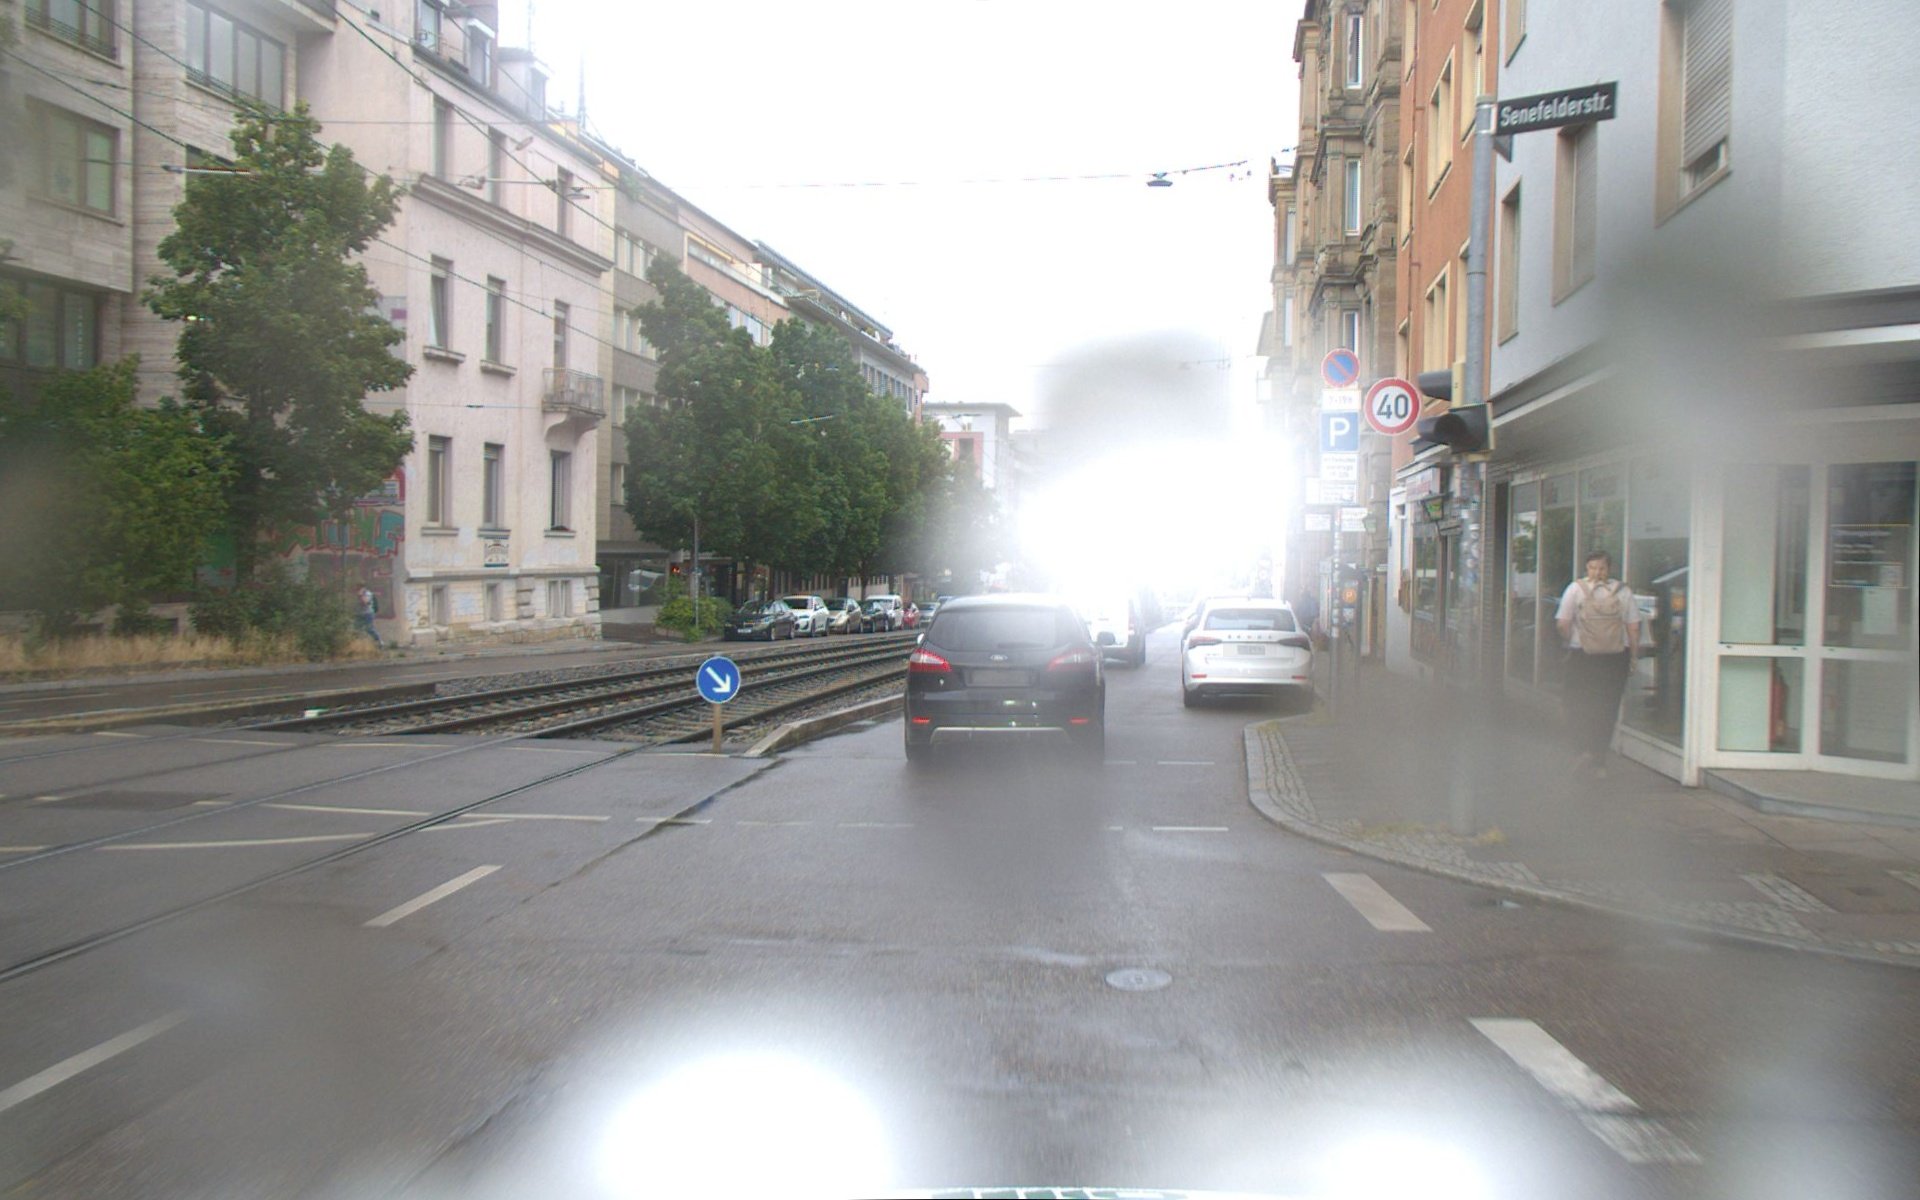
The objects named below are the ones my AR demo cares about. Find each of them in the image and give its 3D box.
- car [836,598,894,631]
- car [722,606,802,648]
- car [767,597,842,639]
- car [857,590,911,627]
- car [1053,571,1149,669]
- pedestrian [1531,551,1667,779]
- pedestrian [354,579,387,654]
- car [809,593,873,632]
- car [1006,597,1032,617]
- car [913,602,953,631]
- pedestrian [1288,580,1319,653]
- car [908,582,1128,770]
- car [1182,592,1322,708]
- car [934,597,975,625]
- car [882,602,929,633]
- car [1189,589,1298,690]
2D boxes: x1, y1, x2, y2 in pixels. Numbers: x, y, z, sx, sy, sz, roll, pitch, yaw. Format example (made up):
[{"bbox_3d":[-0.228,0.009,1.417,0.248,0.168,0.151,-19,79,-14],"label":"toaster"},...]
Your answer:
[{"bbox_3d":[-4.427,0.689,78.063,1.816,1.443,4.434,-1,-2,9],"label":"car"},{"bbox_3d":[-7.199,1.013,60.629,1.657,1.402,4.724,2,-2,9],"label":"car"},{"bbox_3d":[-6.213,0.760,66.664,1.816,1.576,4.724,2,-1,9],"label":"car"},{"bbox_3d":[-3.823,0.449,84.100,1.816,1.731,4.434,2,-1,9],"label":"car"},{"bbox_3d":[3.322,0.422,38.282,1.946,2.096,4.649,1,0,8],"label":"car"},{"bbox_3d":[4.634,0.465,12.034,0.674,1.600,0.762,0,-1,-2],"label":"pedestrian"},{"bbox_3d":[-13.496,0.373,37.850,0.458,1.681,0.581,3,-2,-3],"label":"pedestrian"},{"bbox_3d":[-5.224,0.564,73.063,1.816,1.576,4.434,2,-1,9],"label":"car"},{"bbox_3d":[5.352,0.677,149.862,1.816,1.665,4.049,2,-1,9],"label":"car"},{"bbox_3d":[-1.574,0.990,96.896,1.632,1.585,4.049,2,-1,9],"label":"car"},{"bbox_3d":[8.959,0.414,43.193,0.688,1.851,0.962,-2,1,9],"label":"pedestrian"},{"bbox_3d":[0.570,0.666,15.602,1.804,1.533,4.001,0,-1,3],"label":"car"},{"bbox_3d":[4.082,0.683,23.364,1.763,1.481,4.590,0,-1,9],"label":"car"},{"bbox_3d":[-0.344,0.752,106.430,1.816,1.665,4.939,2,-1,9],"label":"car"},{"bbox_3d":[-2.936,0.955,89.986,1.816,1.553,4.049,2,-1,9],"label":"car"},{"bbox_3d":[5.167,0.716,30.299,1.806,1.661,4.590,1,-1,9],"label":"car"}]
